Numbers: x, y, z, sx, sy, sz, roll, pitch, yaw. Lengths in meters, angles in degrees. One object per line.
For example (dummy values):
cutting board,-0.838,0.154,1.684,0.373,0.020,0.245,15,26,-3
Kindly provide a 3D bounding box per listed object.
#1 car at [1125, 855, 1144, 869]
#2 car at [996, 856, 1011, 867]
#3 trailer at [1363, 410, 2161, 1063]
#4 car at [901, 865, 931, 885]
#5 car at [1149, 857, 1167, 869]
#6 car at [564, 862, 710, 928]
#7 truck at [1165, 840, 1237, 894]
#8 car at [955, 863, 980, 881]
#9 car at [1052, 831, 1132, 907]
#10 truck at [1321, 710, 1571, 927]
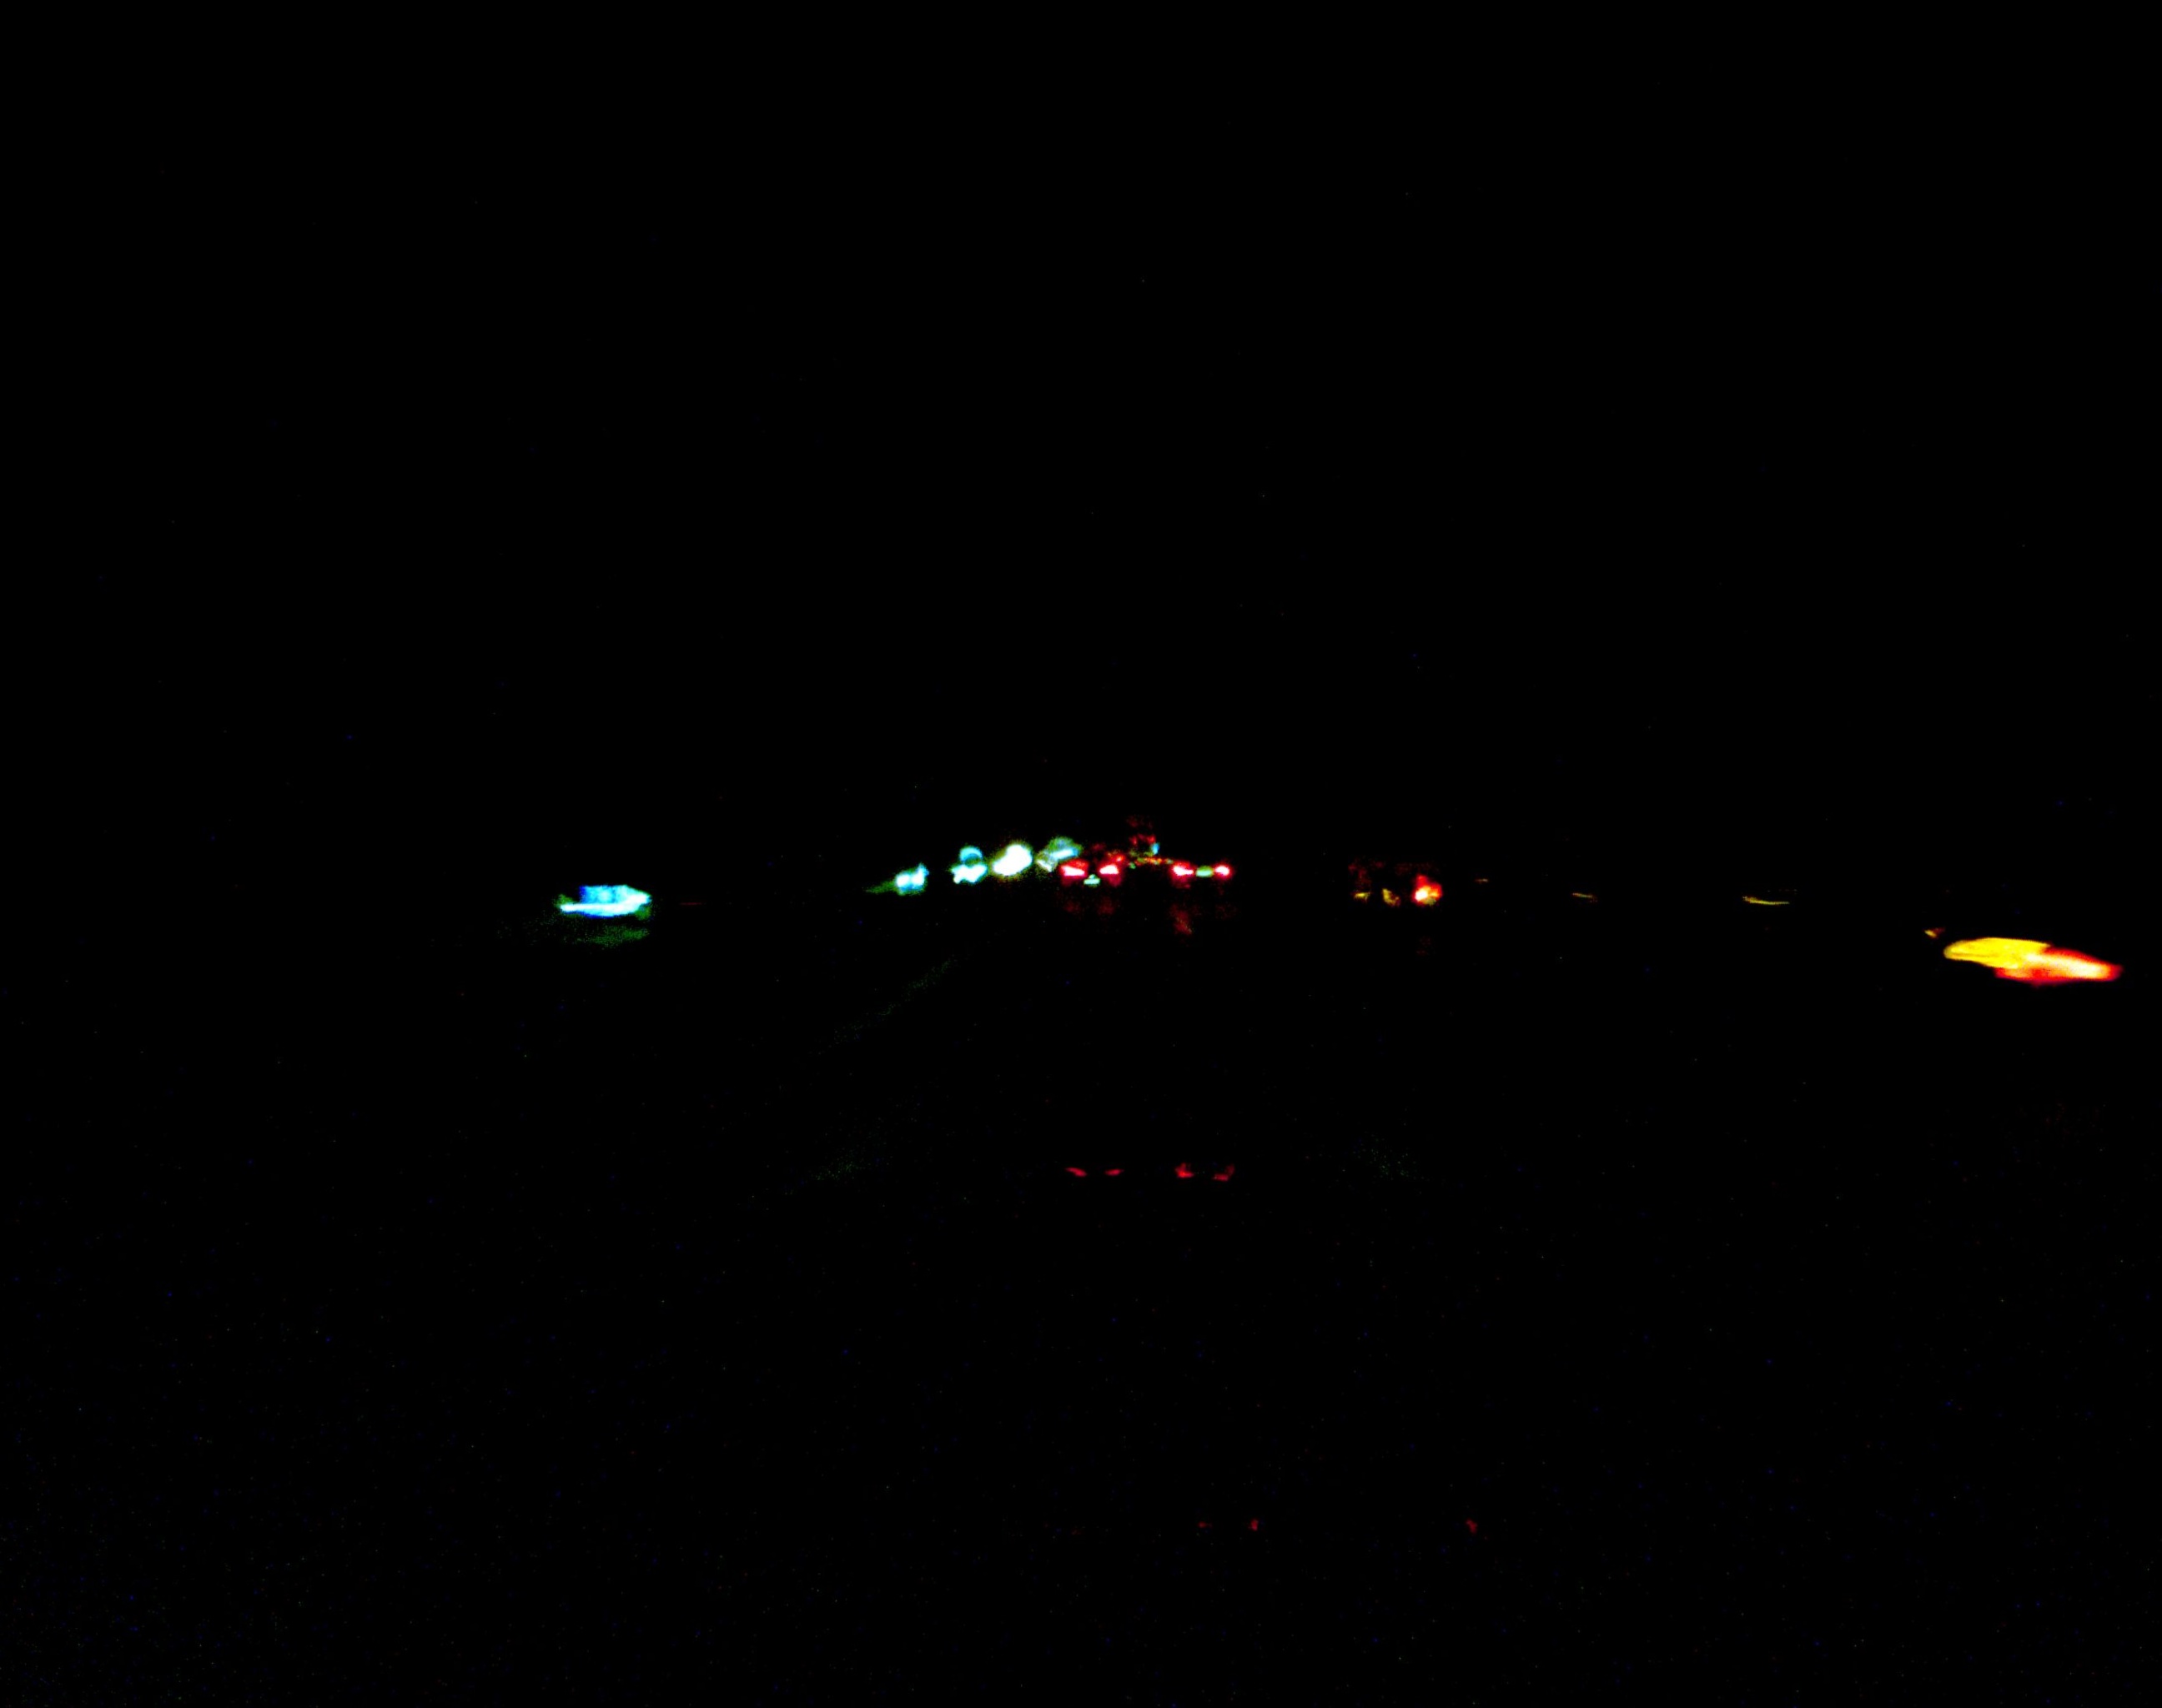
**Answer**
car,5.418,0.791,82.987,1.607,1.412,3.790,-1,0,-1
car,-11.493,1.102,120.576,1.779,1.526,4.380,0,-1,0
trailer,7.733,-0.702,11.910,2.854,4.097,13.646,0,0,2
car,-14.754,1.846,73.130,1.684,1.508,4.273,-3,0,1
car,10.172,1.139,108.407,1.888,1.486,4.960,0,0,-1
car,-19.727,1.716,36.778,2.372,2.443,7.150,-3,0,2
truck,4.096,0.430,28.544,1.837,1.696,4.854,0,0,1
car,-10.760,1.661,77.327,1.728,1.508,3.796,-3,0,1
car,0.332,0.519,31.995,2.702,2.534,5.828,-3,0,-1
truck,7.936,-0.665,18.932,2.849,4.103,7.016,0,0,2
